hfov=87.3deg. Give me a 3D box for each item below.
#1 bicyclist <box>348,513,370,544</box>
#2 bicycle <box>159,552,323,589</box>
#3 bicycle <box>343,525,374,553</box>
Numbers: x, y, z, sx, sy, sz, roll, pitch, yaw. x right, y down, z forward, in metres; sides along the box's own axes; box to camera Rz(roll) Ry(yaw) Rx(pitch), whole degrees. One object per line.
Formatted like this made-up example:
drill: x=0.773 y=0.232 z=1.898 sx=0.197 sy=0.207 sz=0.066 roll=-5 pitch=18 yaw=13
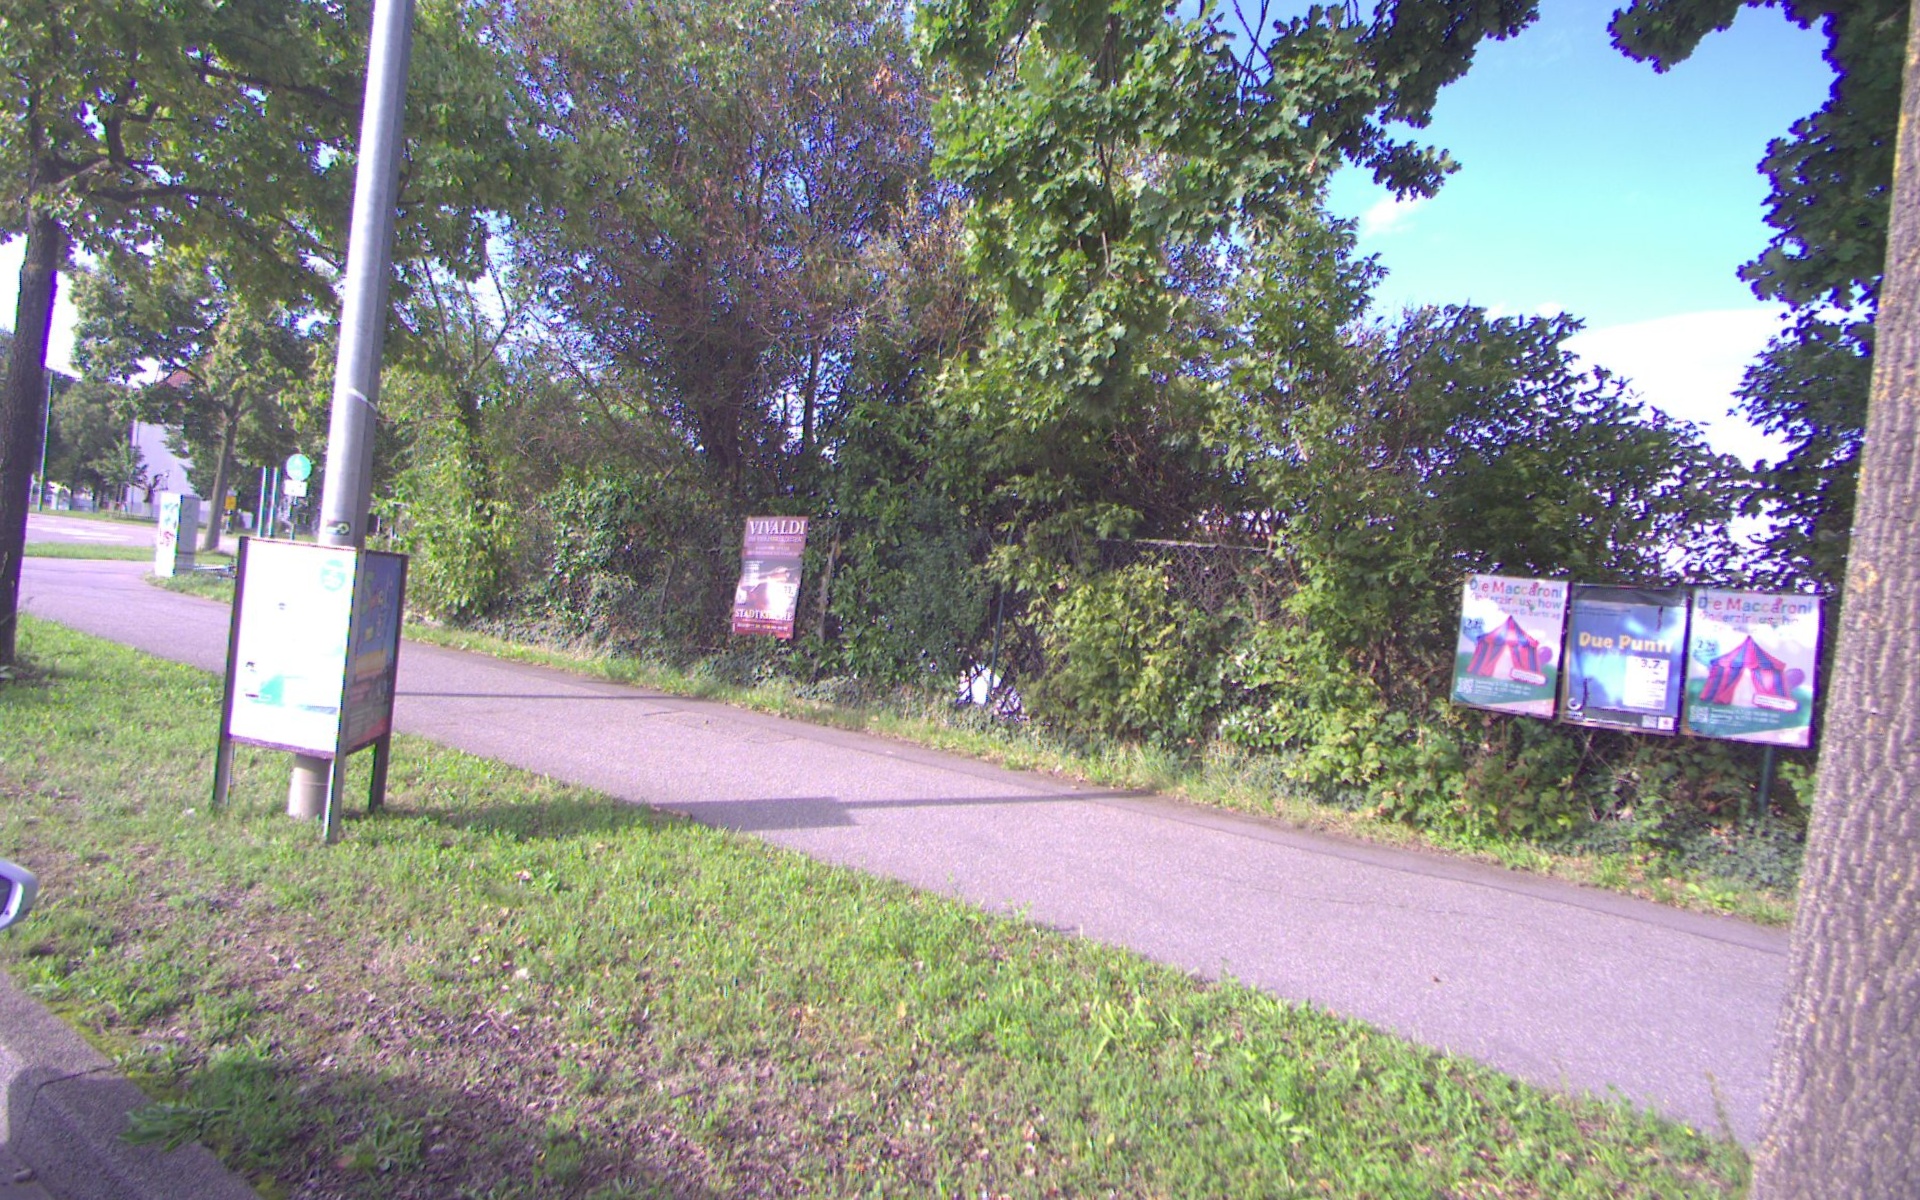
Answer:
bicyclist: x=-42.375 y=-5.015 z=70.891 sx=1.126 sy=2.038 sz=0.839 roll=7 pitch=0 yaw=42
bicycle: x=-13.918 y=-0.571 z=19.510 sx=2.529 sy=0.390 sz=1.411 roll=7 pitch=0 yaw=21
bicycle: x=-42.325 y=-4.302 z=70.742 sx=2.461 sy=1.681 sz=1.042 roll=7 pitch=-1 yaw=42
